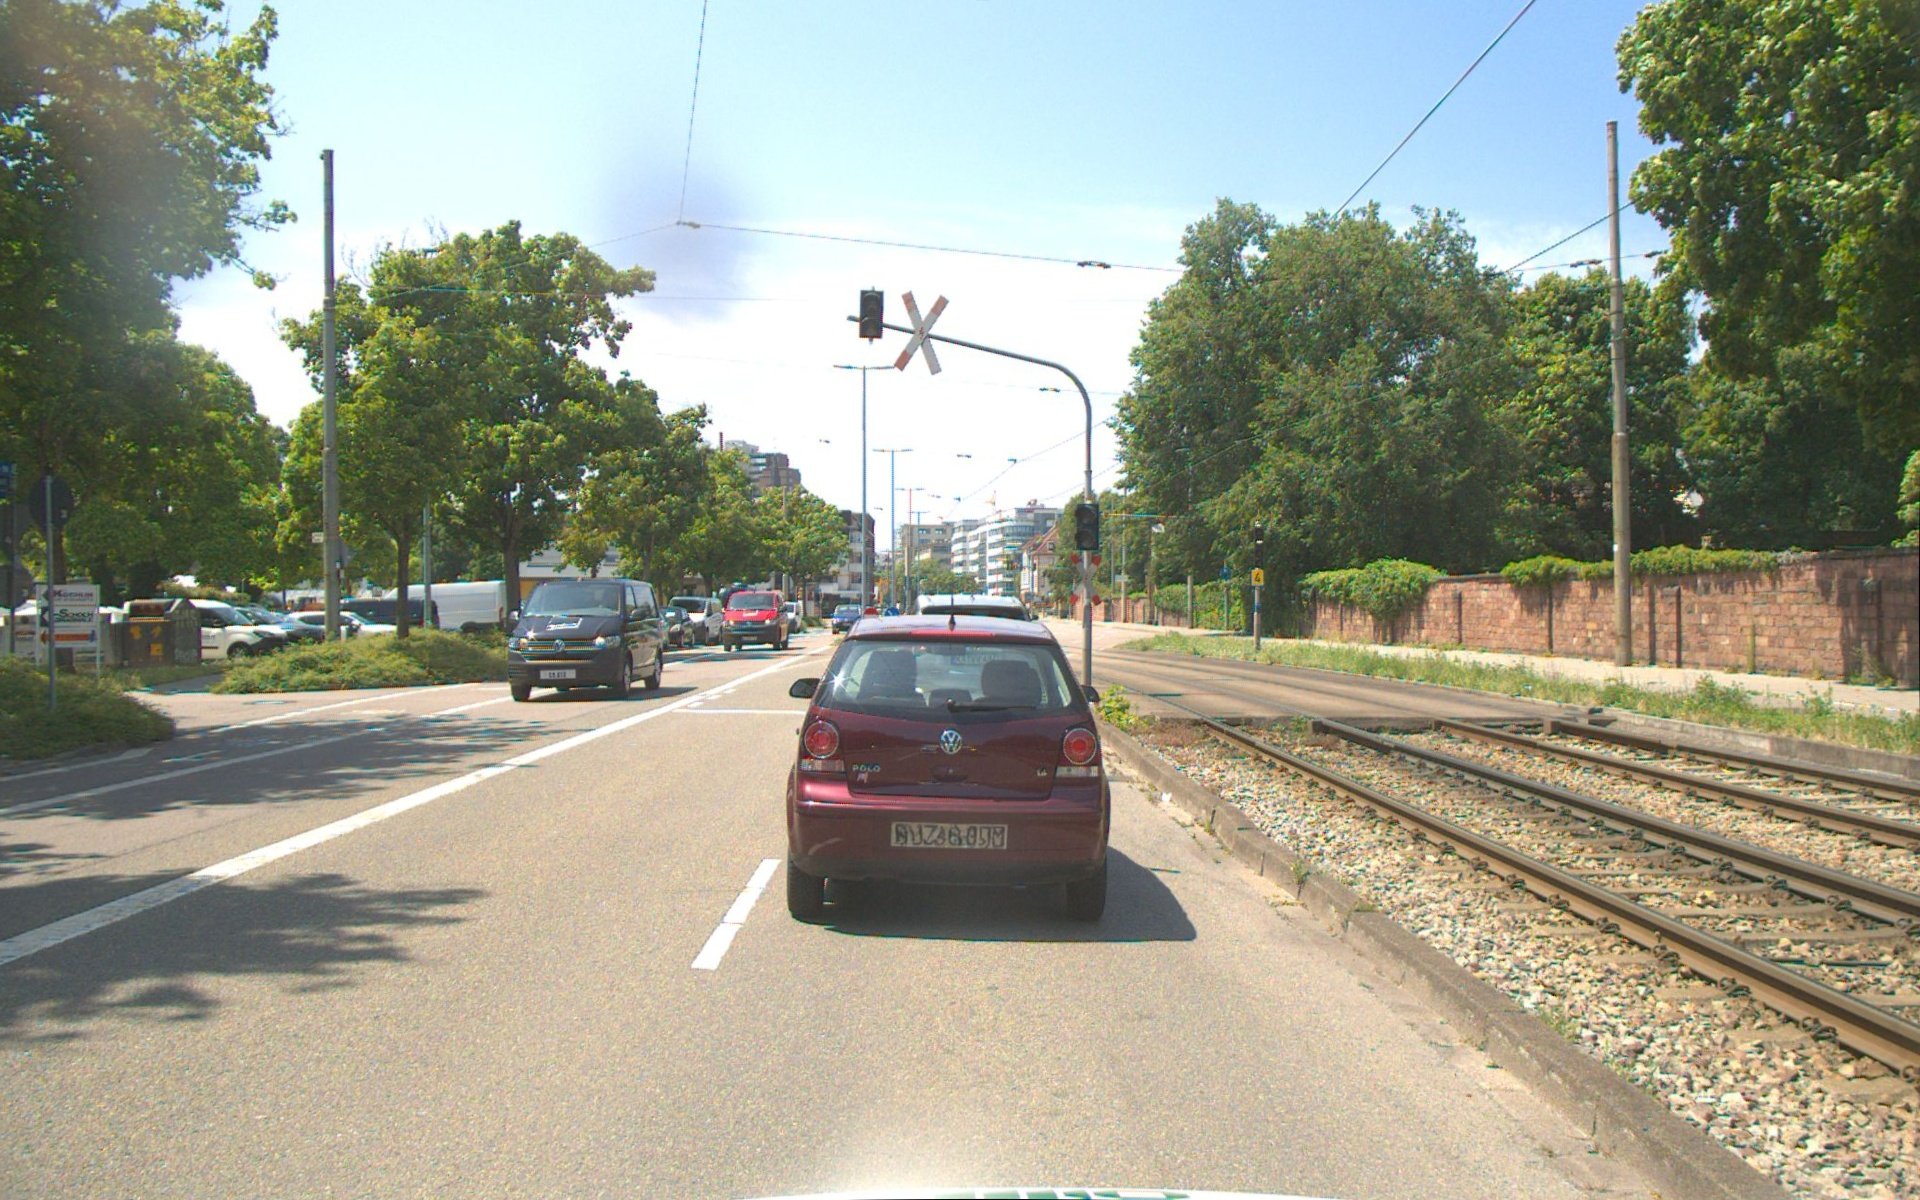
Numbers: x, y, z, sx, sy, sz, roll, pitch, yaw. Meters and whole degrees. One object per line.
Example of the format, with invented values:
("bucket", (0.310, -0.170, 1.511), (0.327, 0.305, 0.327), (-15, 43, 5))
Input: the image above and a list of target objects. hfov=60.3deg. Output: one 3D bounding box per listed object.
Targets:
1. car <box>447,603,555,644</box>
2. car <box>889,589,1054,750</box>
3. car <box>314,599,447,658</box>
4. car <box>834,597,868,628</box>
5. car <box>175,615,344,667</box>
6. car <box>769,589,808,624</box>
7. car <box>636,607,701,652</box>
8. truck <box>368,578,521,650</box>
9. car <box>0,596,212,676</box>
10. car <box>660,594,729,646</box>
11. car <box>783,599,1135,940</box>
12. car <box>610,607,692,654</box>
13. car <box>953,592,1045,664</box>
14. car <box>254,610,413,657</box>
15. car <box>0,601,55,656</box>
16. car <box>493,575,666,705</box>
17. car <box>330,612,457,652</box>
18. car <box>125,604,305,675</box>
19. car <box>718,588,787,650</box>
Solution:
("car", (-21.647, 1.106, 78.118), (4.623, 1.845, 1.796), (-1, 0, -3))
("car", (0.088, 0.753, 19.875), (1.759, 1.712, 3.999), (1, 0, -1))
("car", (-20.825, 1.002, 59.553), (4.125, 2.030, 1.856), (-1, 0, -2))
("car", (-6.296, 0.710, 95.616), (1.702, 1.686, 4.066), (-1, 0, -1))
("car", (-20.583, 1.184, 48.724), (4.114, 1.428, 2.079), (-1, 0, -5))
("car", (-10.700, 0.397, 103.522), (1.837, 1.999, 5.163), (3, 0, -1))
("car", (-10.842, 1.073, 61.668), (1.581, 1.510, 3.785), (3, 0, 1))
("truck", (-20.971, 0.570, 67.459), (5.463, 2.808, 2.432), (-1, 0, 0))
("car", (-21.147, 0.869, 40.891), (4.361, 1.889, 2.059), (-1, 0, -5))
("car", (-10.839, 0.802, 67.805), (1.824, 1.971, 4.806), (3, 0, 1))
("car", (-0.041, 0.775, 9.490), (1.577, 1.524, 3.999), (1, 0, -1))
("car", (-10.570, 1.007, 56.855), (1.683, 1.452, 4.772), (-3, 0, 2))
("car", (1.009, 0.671, 40.703), (1.736, 1.659, 4.003), (1, 0, 9))
("car", (-21.388, 1.136, 56.602), (4.665, 1.514, 2.057), (-1, 0, -2))
("car", (-33.621, 0.961, 56.731), (4.044, 1.852, 1.970), (0, -1, -2))
("car", (-6.242, 0.615, 27.667), (1.879, 1.944, 4.570), (-1, 0, -1))
("car", (-21.180, 1.181, 61.935), (4.125, 1.436, 1.856), (-1, 0, -2))
("car", (-20.527, 1.083, 45.668), (4.178, 1.868, 1.673), (-1, 0, 1))
("car", (-6.903, 0.617, 55.451), (1.861, 1.959, 4.817), (-1, 0, -2))
